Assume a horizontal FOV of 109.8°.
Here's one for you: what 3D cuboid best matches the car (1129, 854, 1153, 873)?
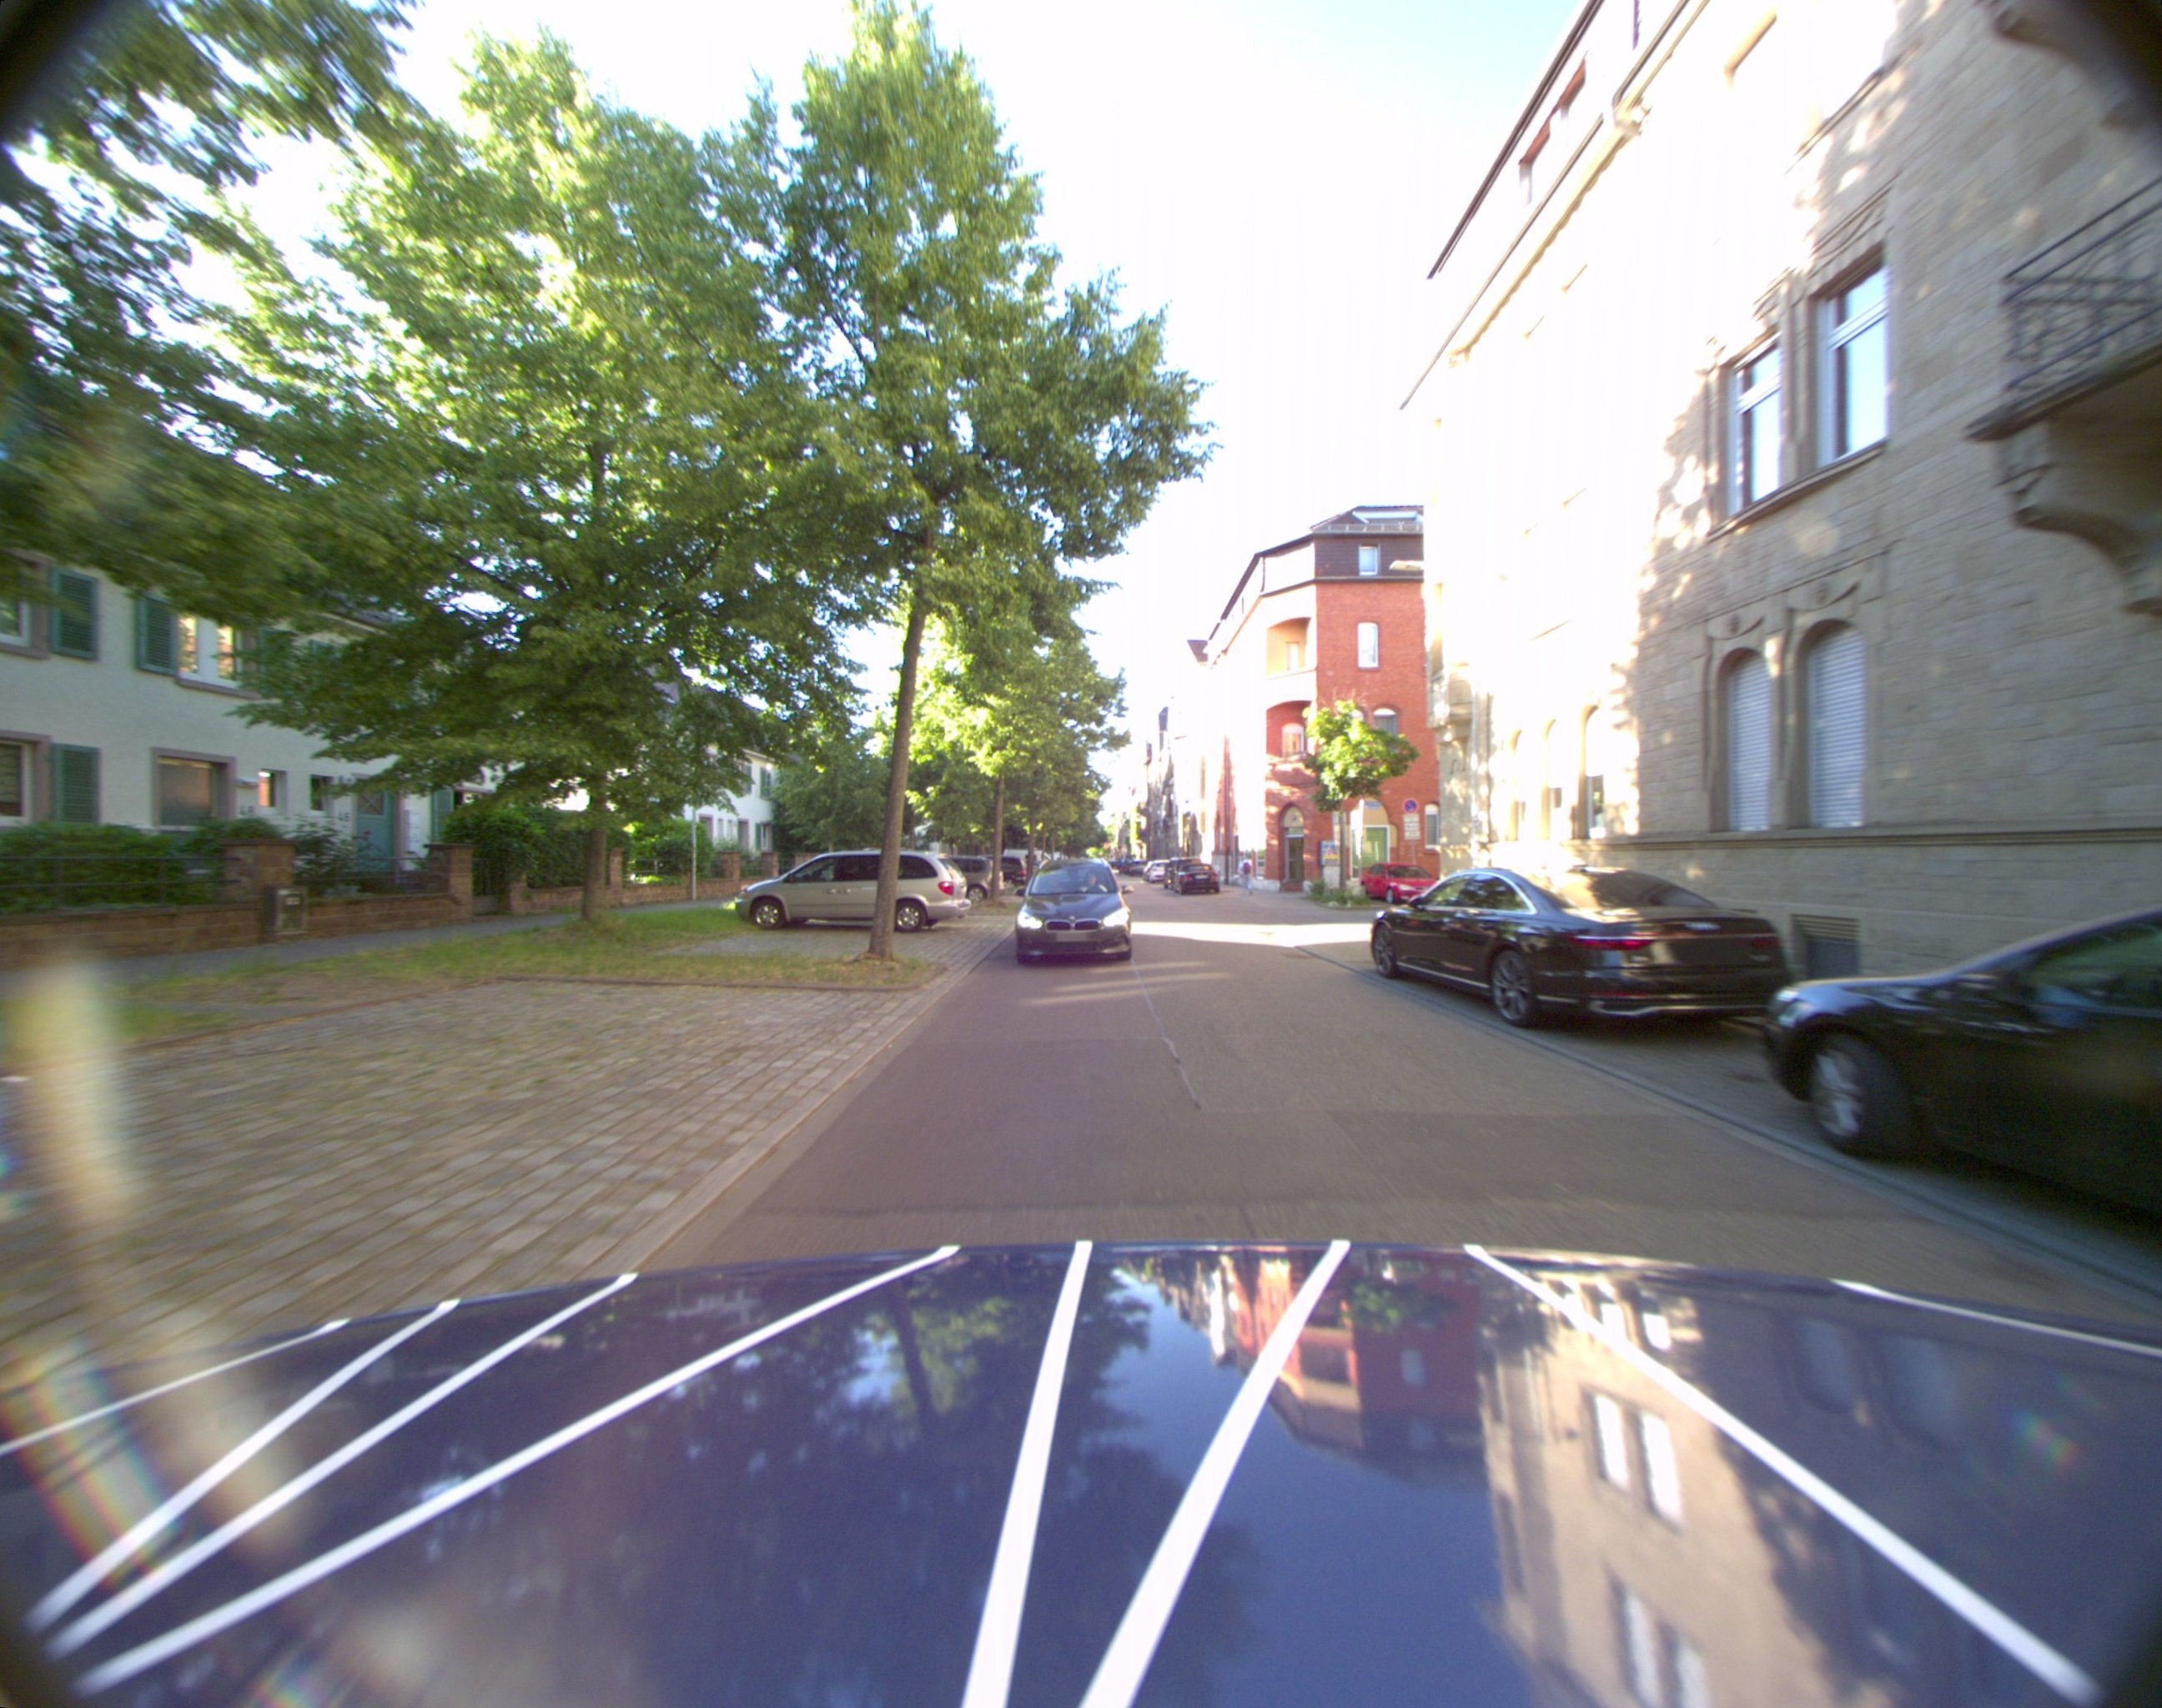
[{"bbox_3d":[5.591,0.882,71.073,1.881,1.707,4.339,-1,0,1],"label":"car"}]

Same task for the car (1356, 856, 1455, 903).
[{"bbox_3d":[11.547,0.846,27.393,1.640,1.460,4.657,-1,0,1],"label":"car"}]

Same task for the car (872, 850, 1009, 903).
[{"bbox_3d":[-4.909,0.786,27.080,4.552,1.624,1.811,3,0,-5],"label":"car"}]

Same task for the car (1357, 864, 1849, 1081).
[{"bbox_3d":[4.737,0.905,8.043,1.816,1.418,4.897,-3,0,0],"label":"car"}]

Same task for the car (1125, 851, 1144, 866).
[{"bbox_3d":[5.802,0.460,82.751,1.774,1.493,4.211,0,1,0],"label":"car"}]

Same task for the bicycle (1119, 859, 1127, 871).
[{"bbox_3d":[4.369,1.137,78.839,0.759,1.101,1.907,0,1,1],"label":"bicycle"}]

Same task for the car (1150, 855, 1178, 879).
[{"bbox_3d":[5.426,0.818,49.830,1.570,1.461,3.592,-1,0,3],"label":"car"}]

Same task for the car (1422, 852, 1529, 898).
[{"bbox_3d":[14.094,0.704,27.430,1.717,1.541,4.212,0,0,1],"label":"car"}]

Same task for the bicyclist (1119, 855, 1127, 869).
[{"bbox_3d":[4.365,0.822,78.809,0.761,1.445,0.948,0,1,0],"label":"bicyclist"}]

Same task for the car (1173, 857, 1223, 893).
[{"bbox_3d":[5.245,0.899,34.601,1.640,1.402,4.333,-3,0,1],"label":"car"}]

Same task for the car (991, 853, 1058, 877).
[{"bbox_3d":[-4.151,0.773,56.678,4.850,1.530,1.894,3,0,-1],"label":"car"}]

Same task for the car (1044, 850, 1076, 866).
[{"bbox_3d":[-3.644,0.716,131.128,5.448,2.646,2.134,1,0,1],"label":"car"}]

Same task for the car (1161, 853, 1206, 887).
[{"bbox_3d":[5.361,0.795,40.234,1.673,1.671,4.349,-1,1,-1],"label":"car"}]

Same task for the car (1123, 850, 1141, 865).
[{"bbox_3d":[5.954,0.369,89.310,1.774,1.658,4.212,-1,1,0],"label":"car"}]

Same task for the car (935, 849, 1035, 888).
[{"bbox_3d":[-4.695,0.714,37.643,4.592,1.667,1.907,3,0,3],"label":"car"}]

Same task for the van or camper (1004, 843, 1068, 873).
[{"bbox_3d":[-4.109,0.384,70.322,5.733,2.502,2.162,3,0,0],"label":"van or camper"}]

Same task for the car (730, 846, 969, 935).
[{"bbox_3d":[-4.971,0.759,16.730,4.630,1.699,1.833,2,0,2],"label":"car"}]

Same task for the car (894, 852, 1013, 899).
[{"bbox_3d":[-5.016,0.832,30.196,4.282,1.624,1.691,3,0,4],"label":"car"}]

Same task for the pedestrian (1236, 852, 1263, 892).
[{"bbox_3d":[7.042,0.741,31.737,0.890,1.568,1.053,-1,2,1],"label":"pedestrian"}]

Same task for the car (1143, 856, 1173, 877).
[{"bbox_3d":[5.559,0.880,54.908,1.681,1.434,4.111,-2,0,0],"label":"car"}]

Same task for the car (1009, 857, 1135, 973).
[{"bbox_3d":[-0.083,0.901,13.242,1.753,1.596,4.551,-2,0,1],"label":"car"}]

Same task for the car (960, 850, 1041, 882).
[{"bbox_3d":[-4.714,0.692,44.934,4.487,1.624,1.875,3,0,0],"label":"car"}]

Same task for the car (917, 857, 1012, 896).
[{"bbox_3d":[-4.926,0.951,32.466,3.731,1.445,1.589,3,0,0],"label":"car"}]

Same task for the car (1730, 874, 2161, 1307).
[{"bbox_3d":[4.658,0.872,2.422,1.700,1.445,4.027,0,1,-1],"label":"car"}]
